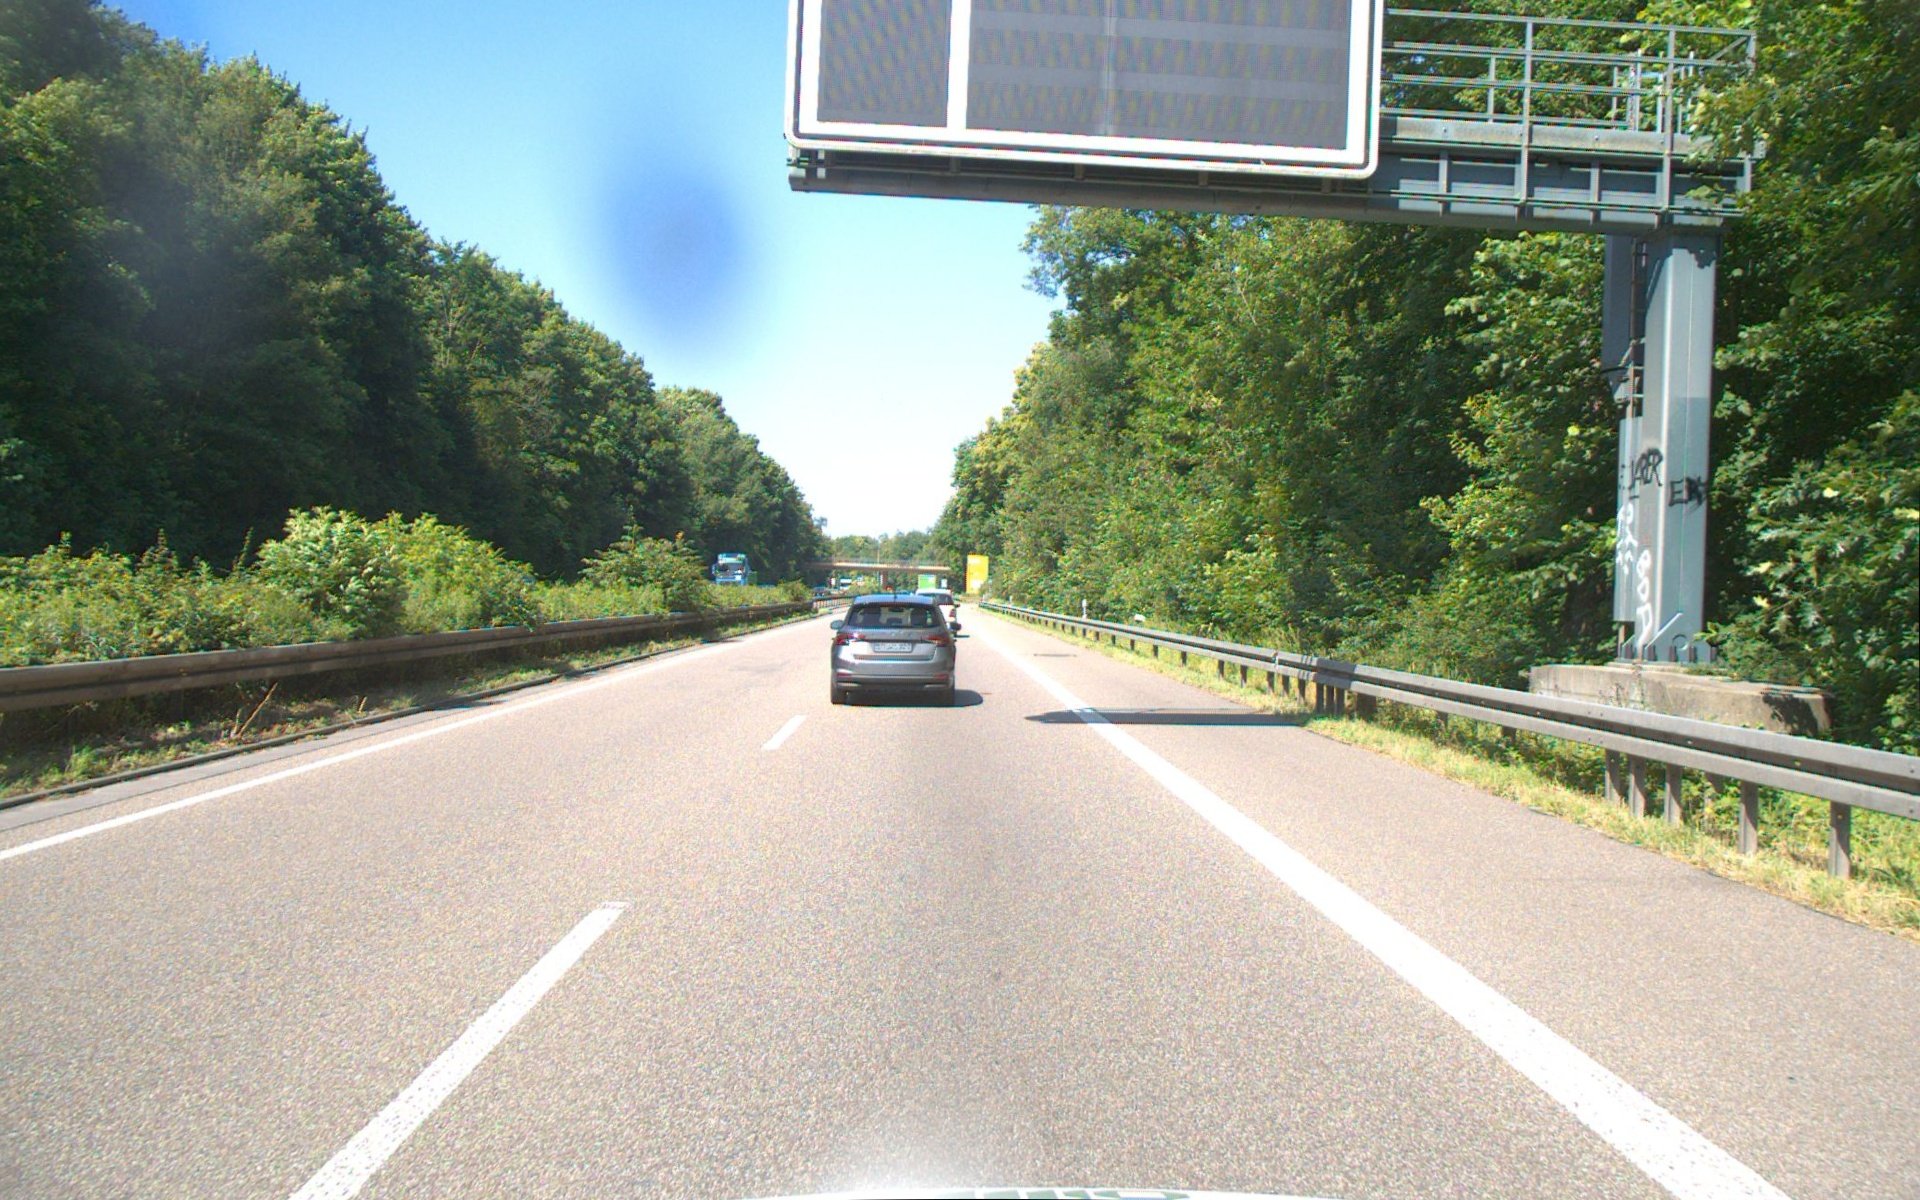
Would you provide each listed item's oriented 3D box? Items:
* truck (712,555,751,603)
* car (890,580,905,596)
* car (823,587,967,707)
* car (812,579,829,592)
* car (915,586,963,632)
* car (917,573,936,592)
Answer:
[{"bbox_3d":[-18.195,-1.671,131.957,2.592,3.771,3.999,1,0,-1],"label":"truck"},{"bbox_3d":[-8.343,-1.582,221.249,1.953,2.049,3.999,1,0,-1],"label":"car"},{"bbox_3d":[-0.829,0.588,22.951,1.802,1.497,3.624,1,1,0],"label":"car"},{"bbox_3d":[-16.158,-1.671,191.238,1.638,1.499,3.623,1,0,0],"label":"car"},{"bbox_3d":[-0.681,0.272,55.592,1.491,1.472,3.340,1,1,0],"label":"car"},{"bbox_3d":[-4.912,-2.607,243.968,2.693,2.700,3.999,1,0,-1],"label":"car"}]
